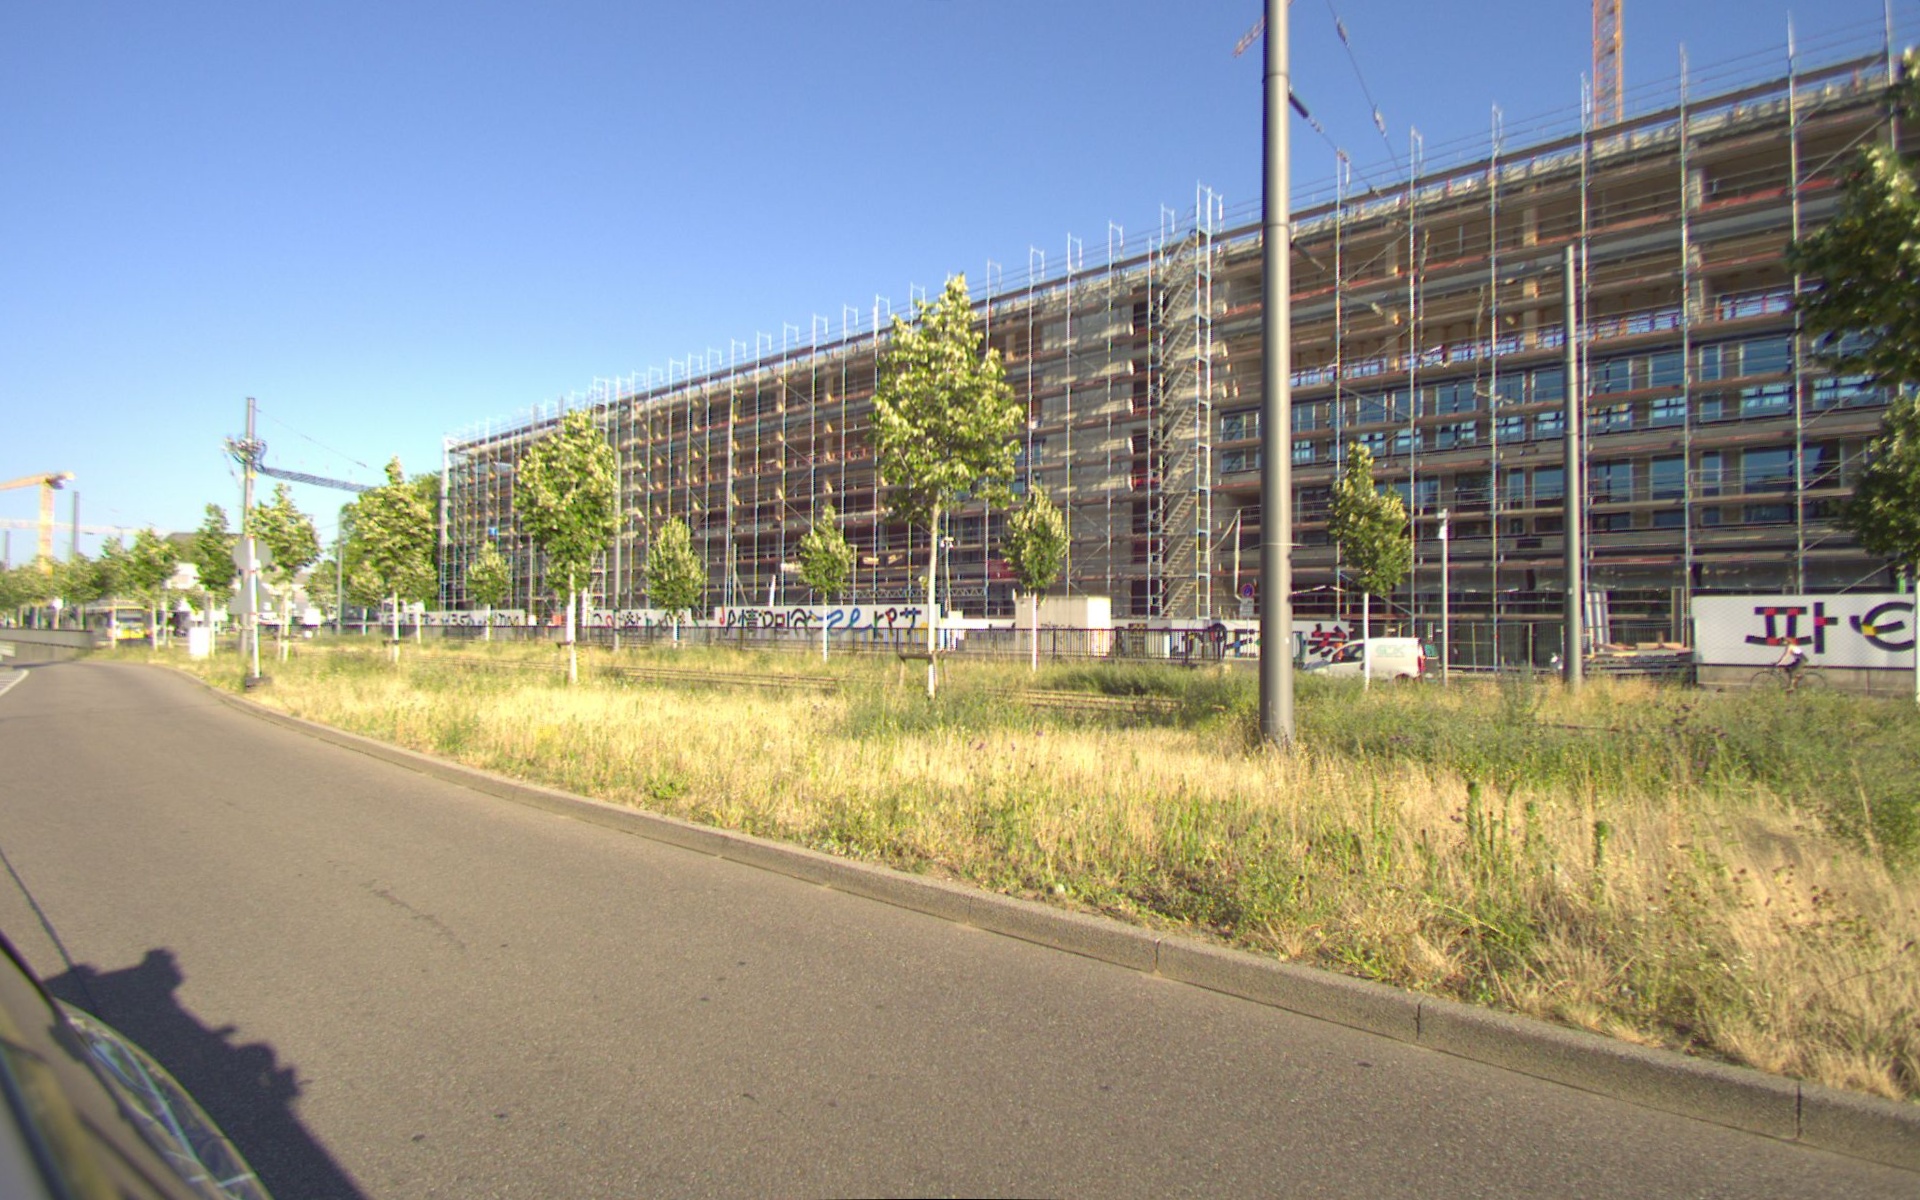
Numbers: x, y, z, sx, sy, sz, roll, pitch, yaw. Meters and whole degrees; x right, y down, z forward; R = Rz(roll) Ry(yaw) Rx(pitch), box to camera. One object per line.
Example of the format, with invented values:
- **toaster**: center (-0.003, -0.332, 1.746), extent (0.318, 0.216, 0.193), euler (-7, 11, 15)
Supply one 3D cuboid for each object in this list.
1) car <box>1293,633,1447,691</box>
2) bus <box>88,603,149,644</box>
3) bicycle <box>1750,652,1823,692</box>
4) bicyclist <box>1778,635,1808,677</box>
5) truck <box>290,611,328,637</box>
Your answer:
- **car**: center (11.850, 1.760, 29.388), extent (3.840, 1.570, 1.587), euler (-2, -3, 42)
- **bus**: center (-69.817, 1.976, 83.894), extent (8.654, 3.247, 2.687), euler (-2, -3, 42)
- **bicycle**: center (23.506, 2.040, 28.803), extent (1.564, 1.069, 0.473), euler (-2, -3, 42)
- **bicyclist**: center (23.616, 1.572, 28.696), extent (0.638, 1.163, 0.473), euler (-2, -3, 42)
- **truck**: center (-65.685, 2.423, 102.115), extent (4.740, 2.593, 2.114), euler (-2, -3, 43)
